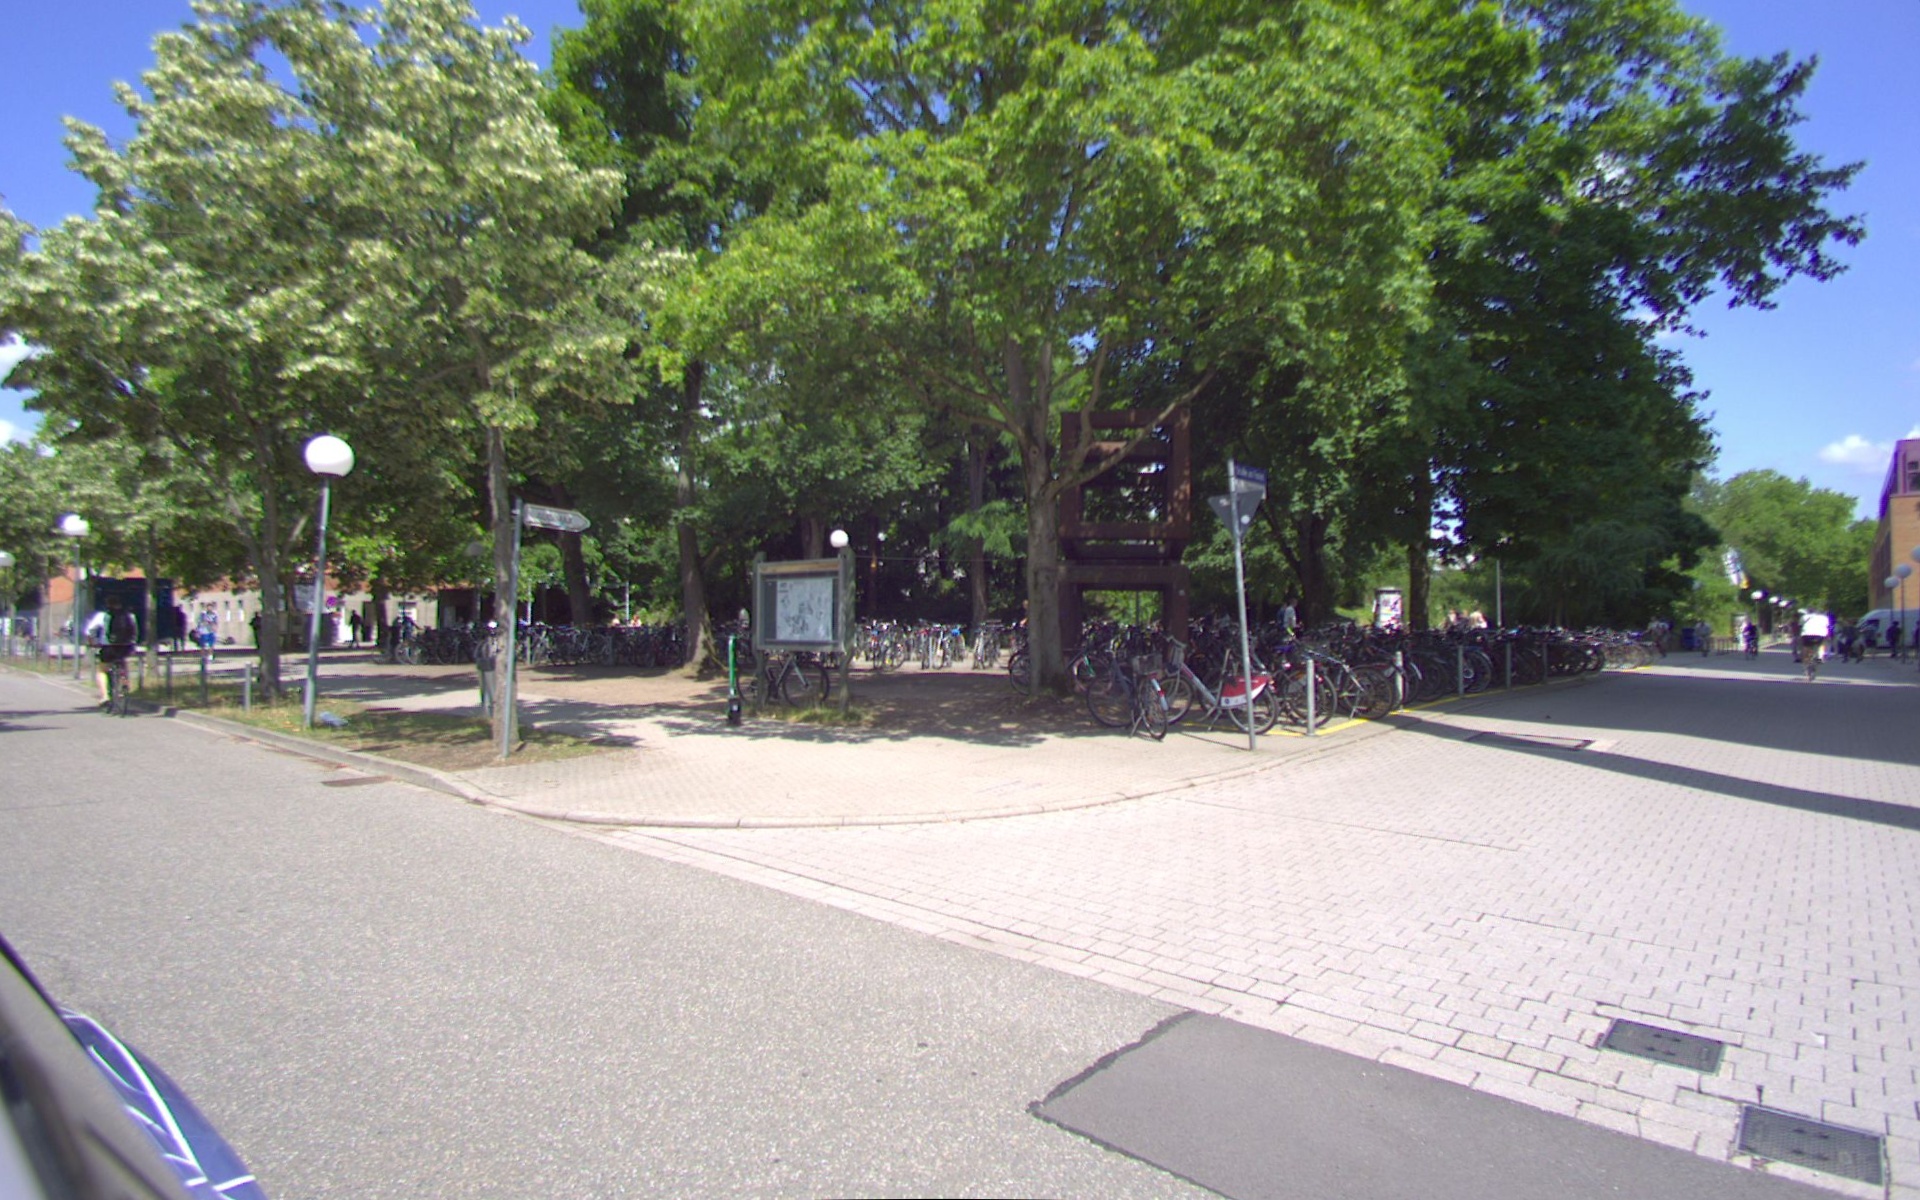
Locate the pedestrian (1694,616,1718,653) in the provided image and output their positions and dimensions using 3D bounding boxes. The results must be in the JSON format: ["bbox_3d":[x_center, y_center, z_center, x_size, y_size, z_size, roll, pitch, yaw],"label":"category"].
[{"bbox_3d":[33.569,1.557,45.544,0.780,1.628,0.716,1,0,44],"label":"pedestrian"}]

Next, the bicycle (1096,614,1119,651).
[{"bbox_3d":[4.685,1.029,32.244,0.632,1.141,2.056,0,-1,6],"label":"bicycle"}]

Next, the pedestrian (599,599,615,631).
[{"bbox_3d":[-15.990,0.668,45.874,0.459,1.433,0.501,-1,-1,32],"label":"pedestrian"}]

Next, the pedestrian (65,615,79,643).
[{"bbox_3d":[-57.246,1.841,65.216,0.805,1.775,0.557,-1,-2,41],"label":"pedestrian"}]

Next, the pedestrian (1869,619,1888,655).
[{"bbox_3d":[41.342,1.671,45.547,0.602,1.618,0.624,-1,-2,41],"label":"pedestrian"}]

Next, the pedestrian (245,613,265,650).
[{"bbox_3d":[-32.435,1.453,46.584,0.643,1.678,0.623,-2,-1,42],"label":"pedestrian"}]

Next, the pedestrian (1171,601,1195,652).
[{"bbox_3d":[7.553,0.899,34.302,0.721,1.683,0.631,-1,-1,6],"label":"pedestrian"}]

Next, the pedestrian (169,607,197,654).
[{"bbox_3d":[-33.644,1.305,43.819,0.906,1.969,0.894,-2,0,-39],"label":"pedestrian"}]

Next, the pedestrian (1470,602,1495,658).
[{"bbox_3d":[18.814,1.074,36.464,0.525,2.029,0.594,0,-1,-34],"label":"pedestrian"}]

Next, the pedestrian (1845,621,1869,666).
[{"bbox_3d":[37.223,1.795,42.007,0.699,1.855,0.566,-1,-2,44],"label":"pedestrian"}]

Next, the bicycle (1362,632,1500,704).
[{"bbox_3d":[7.743,1.094,16.707,1.972,1.095,0.546,-1,0,42],"label":"bicycle"}]

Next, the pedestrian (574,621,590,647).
[{"bbox_3d":[-17.956,1.615,48.067,0.728,1.203,0.388,-1,-1,32],"label":"pedestrian"}]

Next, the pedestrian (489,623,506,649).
[{"bbox_3d":[-23.034,1.786,50.402,0.693,1.281,0.554,-2,-1,42],"label":"pedestrian"}]

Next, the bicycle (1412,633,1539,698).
[{"bbox_3d":[9.337,1.153,18.375,1.972,1.095,0.546,-1,0,42],"label":"bicycle"}]

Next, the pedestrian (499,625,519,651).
[{"bbox_3d":[-23.103,1.925,51.801,0.778,1.333,0.680,-2,-2,43],"label":"pedestrian"}]

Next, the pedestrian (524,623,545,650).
[{"bbox_3d":[-20.445,1.736,48.633,0.764,1.260,0.564,-1,-1,30],"label":"pedestrian"}]

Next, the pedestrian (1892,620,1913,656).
[{"bbox_3d":[41.941,1.684,45.040,0.602,1.618,0.624,-1,-2,41],"label":"pedestrian"}]

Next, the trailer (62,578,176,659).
[{"bbox_3d":[-34.145,0.751,41.030,6.264,3.049,2.668,-1,-1,42],"label":"trailer"}]

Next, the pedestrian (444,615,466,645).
[{"bbox_3d":[-23.860,1.413,47.826,0.734,1.380,0.594,-2,-2,7],"label":"pedestrian"}]

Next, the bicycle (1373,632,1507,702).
[{"bbox_3d":[8.123,1.109,17.180,1.972,1.095,0.546,-1,0,42],"label":"bicycle"}]

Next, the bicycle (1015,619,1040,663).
[{"bbox_3d":[1.983,1.173,29.533,0.632,1.141,2.057,-1,1,6],"label":"bicycle"}]

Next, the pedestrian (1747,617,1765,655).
[{"bbox_3d":[34.055,1.533,43.310,0.580,1.618,0.496,1,-2,-44],"label":"pedestrian"}]

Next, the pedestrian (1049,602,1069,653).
[{"bbox_3d":[3.308,0.916,33.820,0.623,1.683,0.576,-1,-1,6],"label":"pedestrian"}]

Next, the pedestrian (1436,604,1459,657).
[{"bbox_3d":[18.804,1.157,39.021,0.525,2.029,0.577,0,-1,-34],"label":"pedestrian"}]

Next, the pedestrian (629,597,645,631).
[{"bbox_3d":[-14.945,0.657,46.812,0.472,1.534,0.501,-1,-1,31],"label":"pedestrian"}]

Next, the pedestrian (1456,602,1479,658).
[{"bbox_3d":[18.542,1.096,36.997,0.525,2.029,0.521,0,-1,-34],"label":"pedestrian"}]

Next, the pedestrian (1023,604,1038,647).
[{"bbox_3d":[2.528,0.900,36.350,0.482,1.538,0.408,-1,-1,11],"label":"pedestrian"}]

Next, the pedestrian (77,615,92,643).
[{"bbox_3d":[-56.864,1.867,65.734,0.917,1.793,0.569,-1,-2,41],"label":"pedestrian"}]

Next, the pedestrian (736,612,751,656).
[{"bbox_3d":[-8.004,1.248,37.482,0.348,1.626,0.459,-1,-1,17],"label":"pedestrian"}]

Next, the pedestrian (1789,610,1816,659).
[{"bbox_3d":[33.758,1.369,40.540,0.758,1.968,0.631,-1,-2,44],"label":"pedestrian"}]

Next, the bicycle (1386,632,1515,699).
[{"bbox_3d":[8.662,1.130,17.939,1.972,1.095,0.546,-1,0,42],"label":"bicycle"}]

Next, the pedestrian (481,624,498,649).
[{"bbox_3d":[-23.750,1.840,51.059,0.693,1.281,0.554,-2,-1,42],"label":"pedestrian"}]

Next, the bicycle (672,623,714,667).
[{"bbox_3d":[-7.869,1.303,29.925,0.473,1.141,2.057,-1,1,6],"label":"bicycle"}]

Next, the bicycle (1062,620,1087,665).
[{"bbox_3d":[3.343,1.229,29.688,0.666,1.141,2.057,-1,1,6],"label":"bicycle"}]

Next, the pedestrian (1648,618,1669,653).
[{"bbox_3d":[32.904,1.668,47.703,0.759,1.608,0.389,-1,-2,41],"label":"pedestrian"}]

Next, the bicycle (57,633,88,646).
[{"bbox_3d":[-75.740,3.359,86.394,0.518,1.038,1.930,-2,-2,40],"label":"bicycle"}]

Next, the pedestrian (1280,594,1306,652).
[{"bbox_3d":[11.238,0.776,34.174,0.688,1.948,0.647,-1,-1,6],"label":"pedestrian"}]

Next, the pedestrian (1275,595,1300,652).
[{"bbox_3d":[11.307,0.798,34.916,0.673,1.948,0.621,-1,-1,6],"label":"pedestrian"}]

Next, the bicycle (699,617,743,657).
[{"bbox_3d":[-7.232,1.112,30.716,0.632,1.141,2.056,-1,-1,6],"label":"bicycle"}]

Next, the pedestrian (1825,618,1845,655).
[{"bbox_3d":[41.089,1.708,47.525,0.591,1.680,0.526,1,-2,-32],"label":"pedestrian"}]

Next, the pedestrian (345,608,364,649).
[{"bbox_3d":[-27.297,1.283,45.612,0.805,1.862,0.524,-2,-1,42],"label":"pedestrian"}]

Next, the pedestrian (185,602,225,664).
[{"bbox_3d":[-22.977,1.000,30.790,0.986,1.844,0.791,-2,-2,42],"label":"pedestrian"}]

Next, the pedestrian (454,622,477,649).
[{"bbox_3d":[-23.132,1.658,47.352,0.734,1.243,0.594,-2,-2,7],"label":"pedestrian"}]

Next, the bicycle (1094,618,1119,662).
[{"bbox_3d":[4.268,1.154,29.588,0.632,1.141,2.057,-1,1,6],"label":"bicycle"}]

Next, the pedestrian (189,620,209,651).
[{"bbox_3d":[-38.631,1.793,51.343,0.499,1.521,0.735,-2,-1,42],"label":"pedestrian"}]

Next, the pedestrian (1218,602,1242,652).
[{"bbox_3d":[9.156,0.911,34.323,0.685,1.683,0.555,-1,-1,6],"label":"pedestrian"}]

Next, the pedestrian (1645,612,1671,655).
[{"bbox_3d":[28.340,1.344,41.093,0.621,1.708,0.604,0,-1,-22],"label":"pedestrian"}]

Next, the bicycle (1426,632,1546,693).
[{"bbox_3d":[10.104,1.184,19.494,1.972,1.095,0.546,-1,0,42],"label":"bicycle"}]

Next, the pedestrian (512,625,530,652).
[{"bbox_3d":[-22.246,1.947,51.259,0.559,1.333,0.638,-2,-2,43],"label":"pedestrian"}]

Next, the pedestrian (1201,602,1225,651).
[{"bbox_3d":[8.786,0.925,35.143,0.695,1.683,0.555,-1,-1,6],"label":"pedestrian"}]

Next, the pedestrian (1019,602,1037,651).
[{"bbox_3d":[2.398,0.940,35.651,0.539,1.727,0.411,-1,-1,11],"label":"pedestrian"}]
